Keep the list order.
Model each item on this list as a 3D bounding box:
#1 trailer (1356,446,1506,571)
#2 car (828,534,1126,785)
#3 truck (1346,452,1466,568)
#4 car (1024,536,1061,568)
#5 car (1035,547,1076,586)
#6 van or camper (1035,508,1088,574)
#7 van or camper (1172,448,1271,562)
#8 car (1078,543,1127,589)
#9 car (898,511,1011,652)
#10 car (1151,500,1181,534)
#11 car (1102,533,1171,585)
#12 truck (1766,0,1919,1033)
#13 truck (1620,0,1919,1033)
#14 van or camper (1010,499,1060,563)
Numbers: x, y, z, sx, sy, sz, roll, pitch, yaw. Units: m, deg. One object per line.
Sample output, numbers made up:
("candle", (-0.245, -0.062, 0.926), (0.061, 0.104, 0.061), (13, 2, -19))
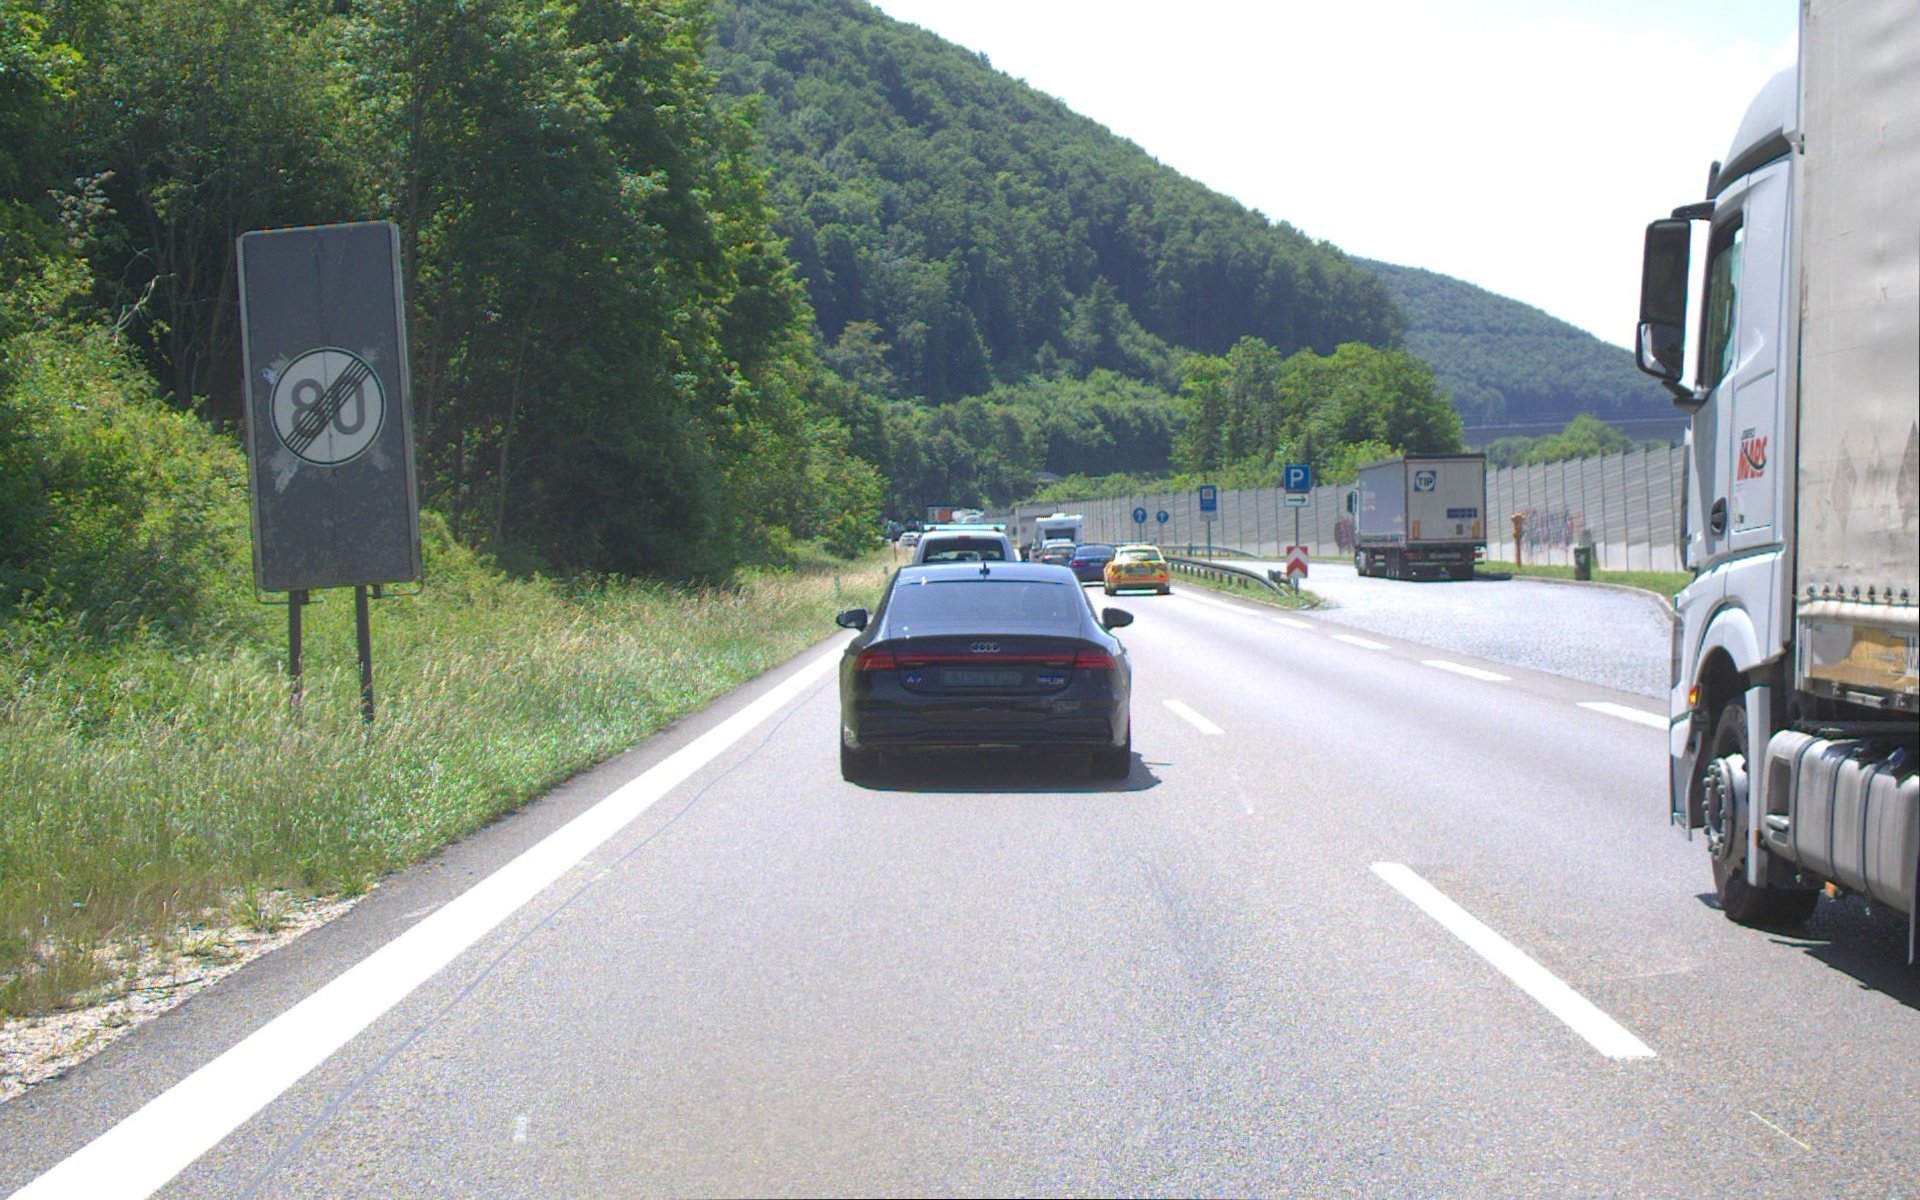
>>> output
("trailer", (15.374, -2.970, 113.066), (3.411, 3.887, 11.151), (0, 1, 0))
("car", (0.114, 0.337, 23.006), (1.812, 1.509, 3.514), (-1, 1, 0))
("truck", (15.404, -3.096, 119.110), (3.411, 3.887, 5.388), (0, 1, 0))
("car", (4.742, -2.761, 198.364), (1.993, 1.788, 4.000), (2, 0, 0))
("car", (3.812, -1.336, 137.699), (1.530, 1.520, 3.597), (2, 0, 1))
("van or camper", (5.000, -2.887, 169.639), (2.429, 3.144, 5.203), (2, 0, 1))
("van or camper", (9.277, -3.351, 122.637), (2.794, 3.828, 6.167), (2, 0, -1))
("car", (4.883, -1.152, 118.096), (1.530, 1.520, 3.597), (2, 0, 1))
("car", (-0.085, -0.279, 50.815), (1.521, 1.961, 3.514), (2, 0, 0))
("car", (12.116, -4.873, 202.015), (1.576, 2.007, 3.428), (0, 1, 1))
("car", (5.222, -1.214, 102.063), (1.879, 1.493, 4.000), (0, 1, 1))
("truck", (4.368, -0.647, 5.800), (2.726, 4.054, 13.741), (1, 0, 0))
("truck", (4.364, -0.674, 12.631), (2.719, 4.054, 5.754), (1, 0, 0))
("van or camper", (4.736, -4.376, 218.341), (2.794, 3.894, 6.167), (2, 0, -1))
